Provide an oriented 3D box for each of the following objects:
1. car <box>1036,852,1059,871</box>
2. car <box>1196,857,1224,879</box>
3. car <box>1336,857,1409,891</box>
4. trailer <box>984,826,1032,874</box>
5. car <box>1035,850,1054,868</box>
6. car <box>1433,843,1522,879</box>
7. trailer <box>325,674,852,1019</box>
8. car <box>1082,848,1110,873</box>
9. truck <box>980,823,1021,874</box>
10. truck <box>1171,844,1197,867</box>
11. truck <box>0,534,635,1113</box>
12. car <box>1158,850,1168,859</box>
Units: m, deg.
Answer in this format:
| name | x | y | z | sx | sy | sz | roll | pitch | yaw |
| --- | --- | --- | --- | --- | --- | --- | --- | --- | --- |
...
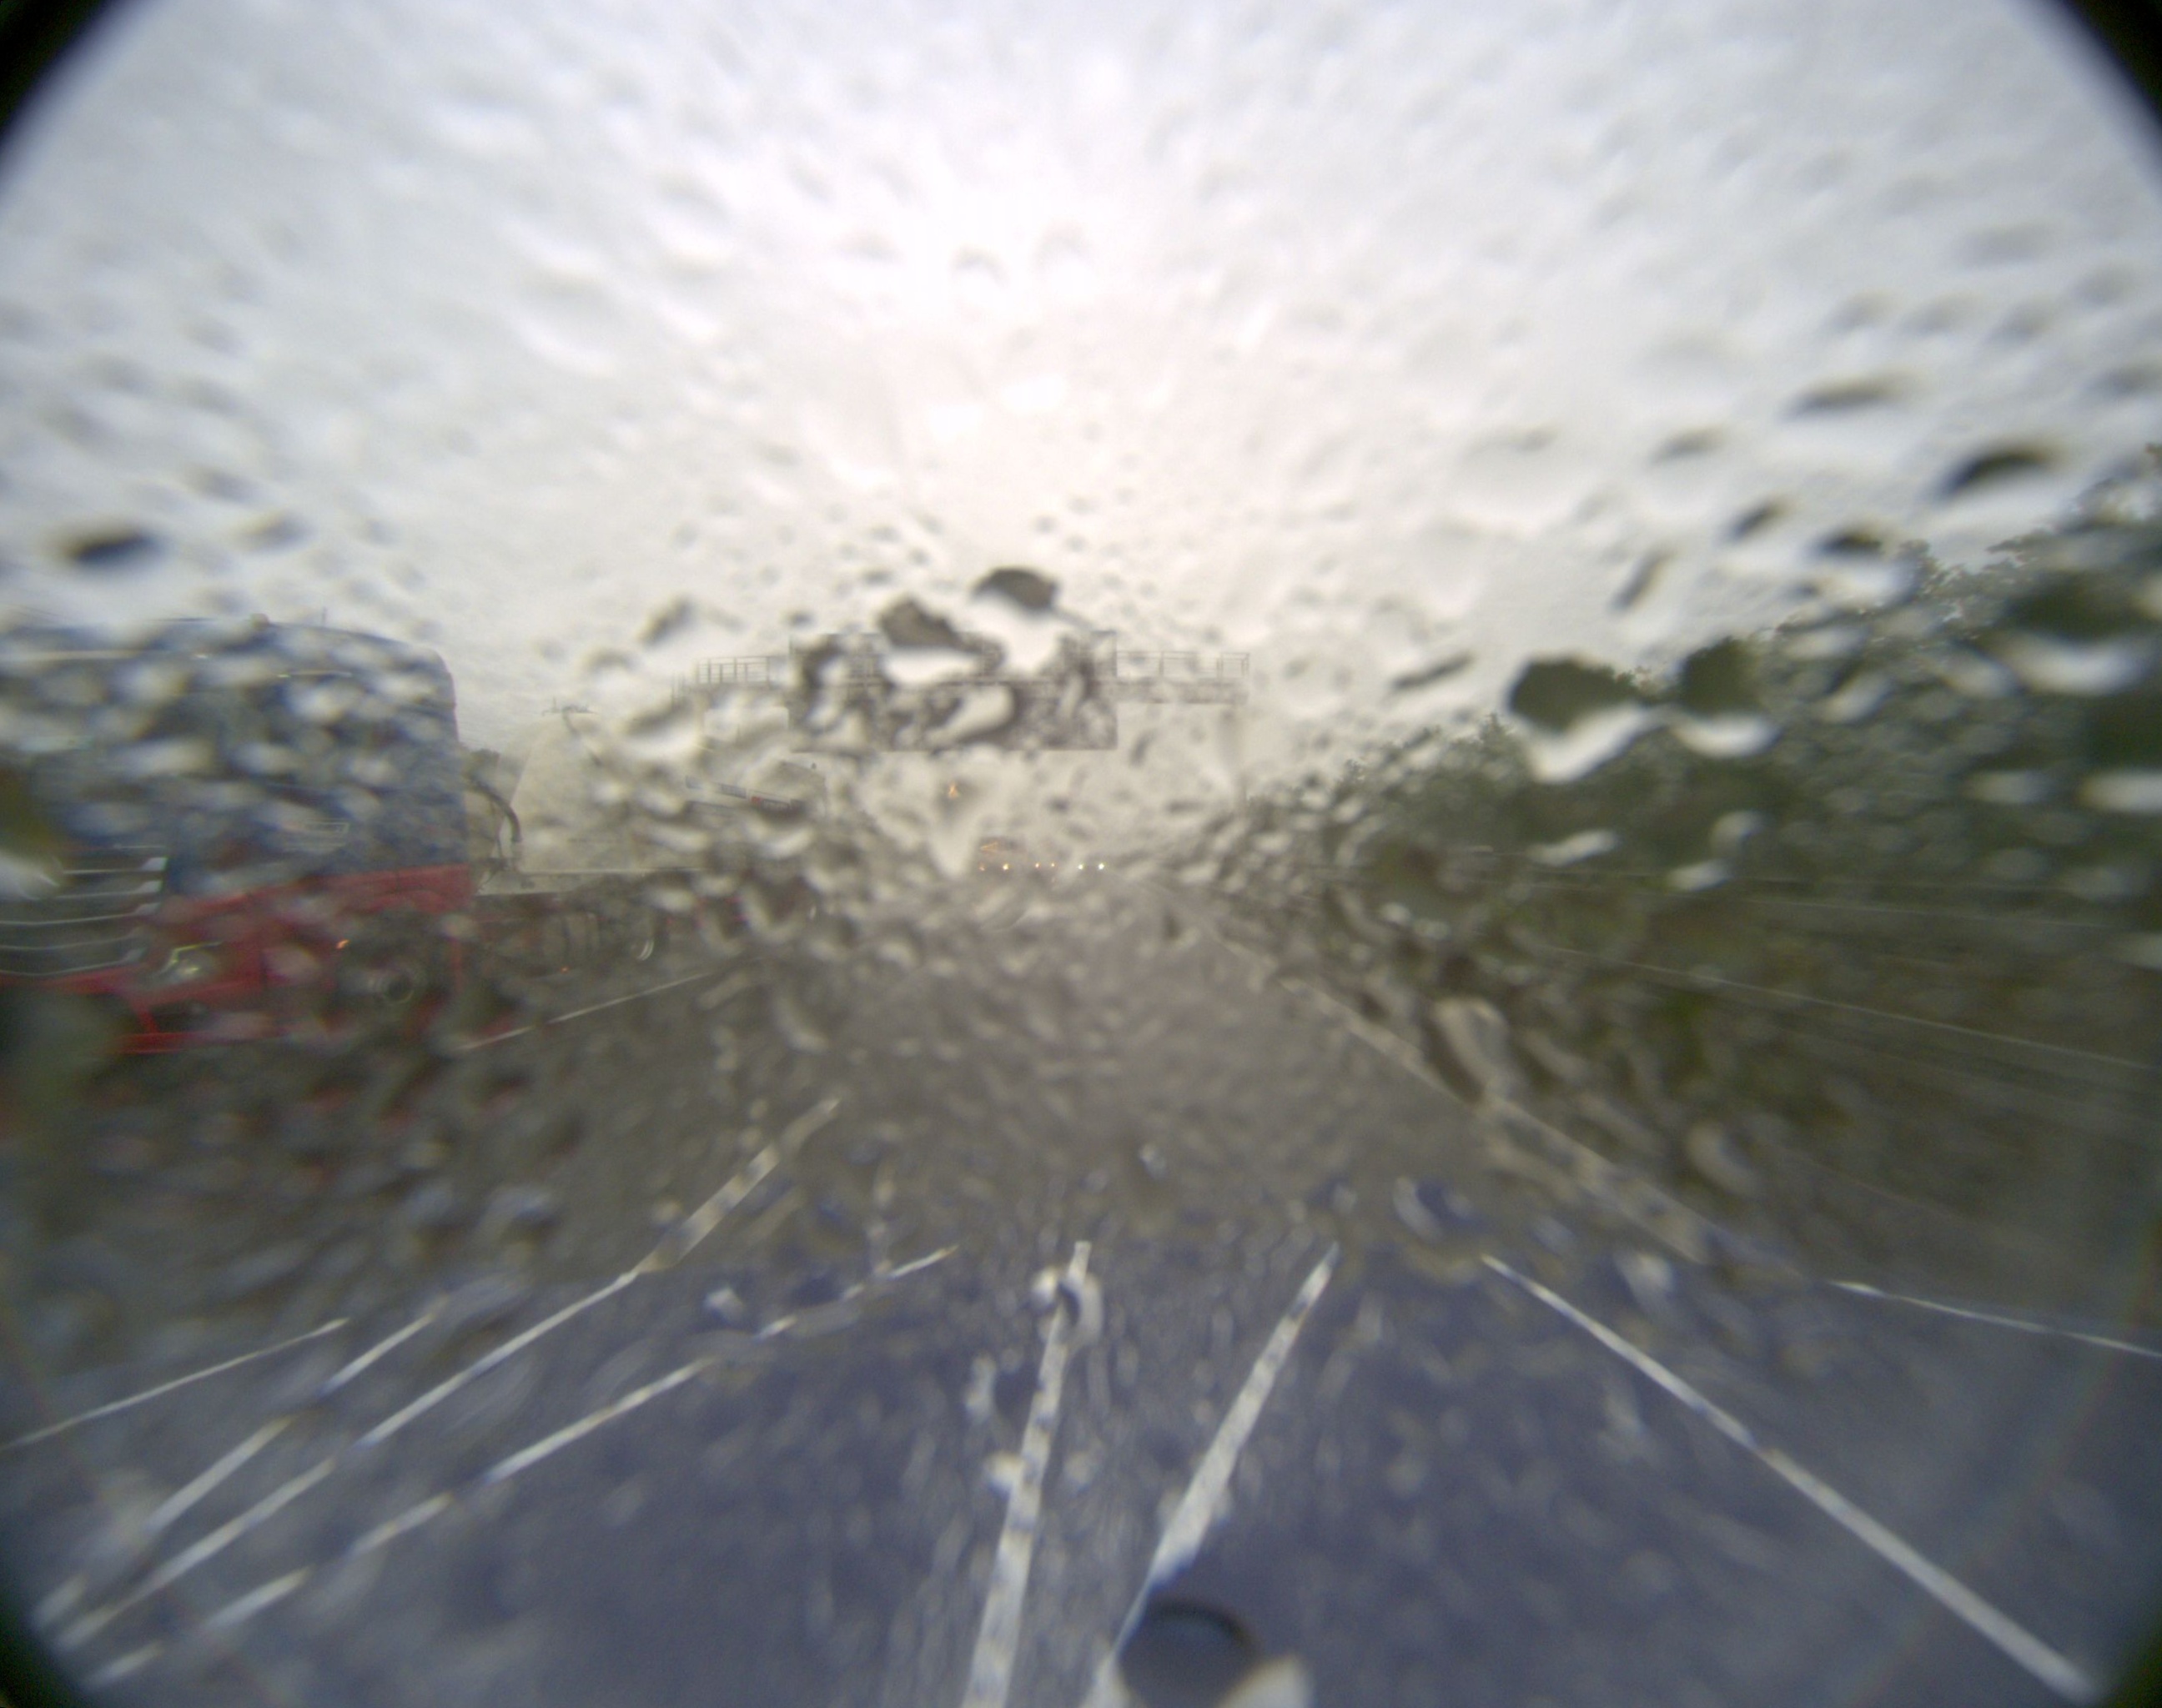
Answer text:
| name | x | y | z | sx | sy | sz | roll | pitch | yaw |
| --- | --- | --- | --- | --- | --- | --- | --- | --- | --- |
| car | -2.912 | 0.662 | 66.766 | 1.663 | 1.491 | 3.837 | -2 | -1 | 1 |
| car | 12.455 | 1.314 | 73.491 | 1.804 | 2.001 | 5.027 | -2 | -1 | 0 |
| car | 15.549 | 1.061 | 40.861 | 1.999 | 1.652 | 4.782 | -2 | -1 | 0 |
| trailer | -6.410 | -0.239 | 69.523 | 2.486 | 3.743 | 16.546 | -2 | -1 | 1 |
| car | -3.451 | 0.506 | 72.315 | 1.517 | 1.606 | 3.186 | -2 | -1 | 0 |
| car | 20.142 | 0.373 | 38.880 | 1.999 | 1.652 | 4.782 | -2 | -1 | 0 |
| trailer | -7.327 | -0.020 | 14.257 | 2.503 | 3.859 | 11.067 | -2 | -1 | 0 |
| car | 1.068 | 0.493 | 54.890 | 1.845 | 1.670 | 4.000 | -2 | -1 | 0 |
| truck | -6.475 | -0.380 | 62.009 | 2.457 | 3.866 | 6.200 | -2 | 0 | 1 |
| truck | 21.993 | 0.379 | 162.871 | 2.973 | 4.647 | 17.100 | -2 | -1 | 0 |
| truck | -7.404 | -0.161 | 7.799 | 2.503 | 3.960 | 5.076 | -2 | 0 | 0 |
| car | 17.473 | 0.136 | 162.504 | 1.615 | 1.870 | 4.000 | -2 | -1 | 0 |
